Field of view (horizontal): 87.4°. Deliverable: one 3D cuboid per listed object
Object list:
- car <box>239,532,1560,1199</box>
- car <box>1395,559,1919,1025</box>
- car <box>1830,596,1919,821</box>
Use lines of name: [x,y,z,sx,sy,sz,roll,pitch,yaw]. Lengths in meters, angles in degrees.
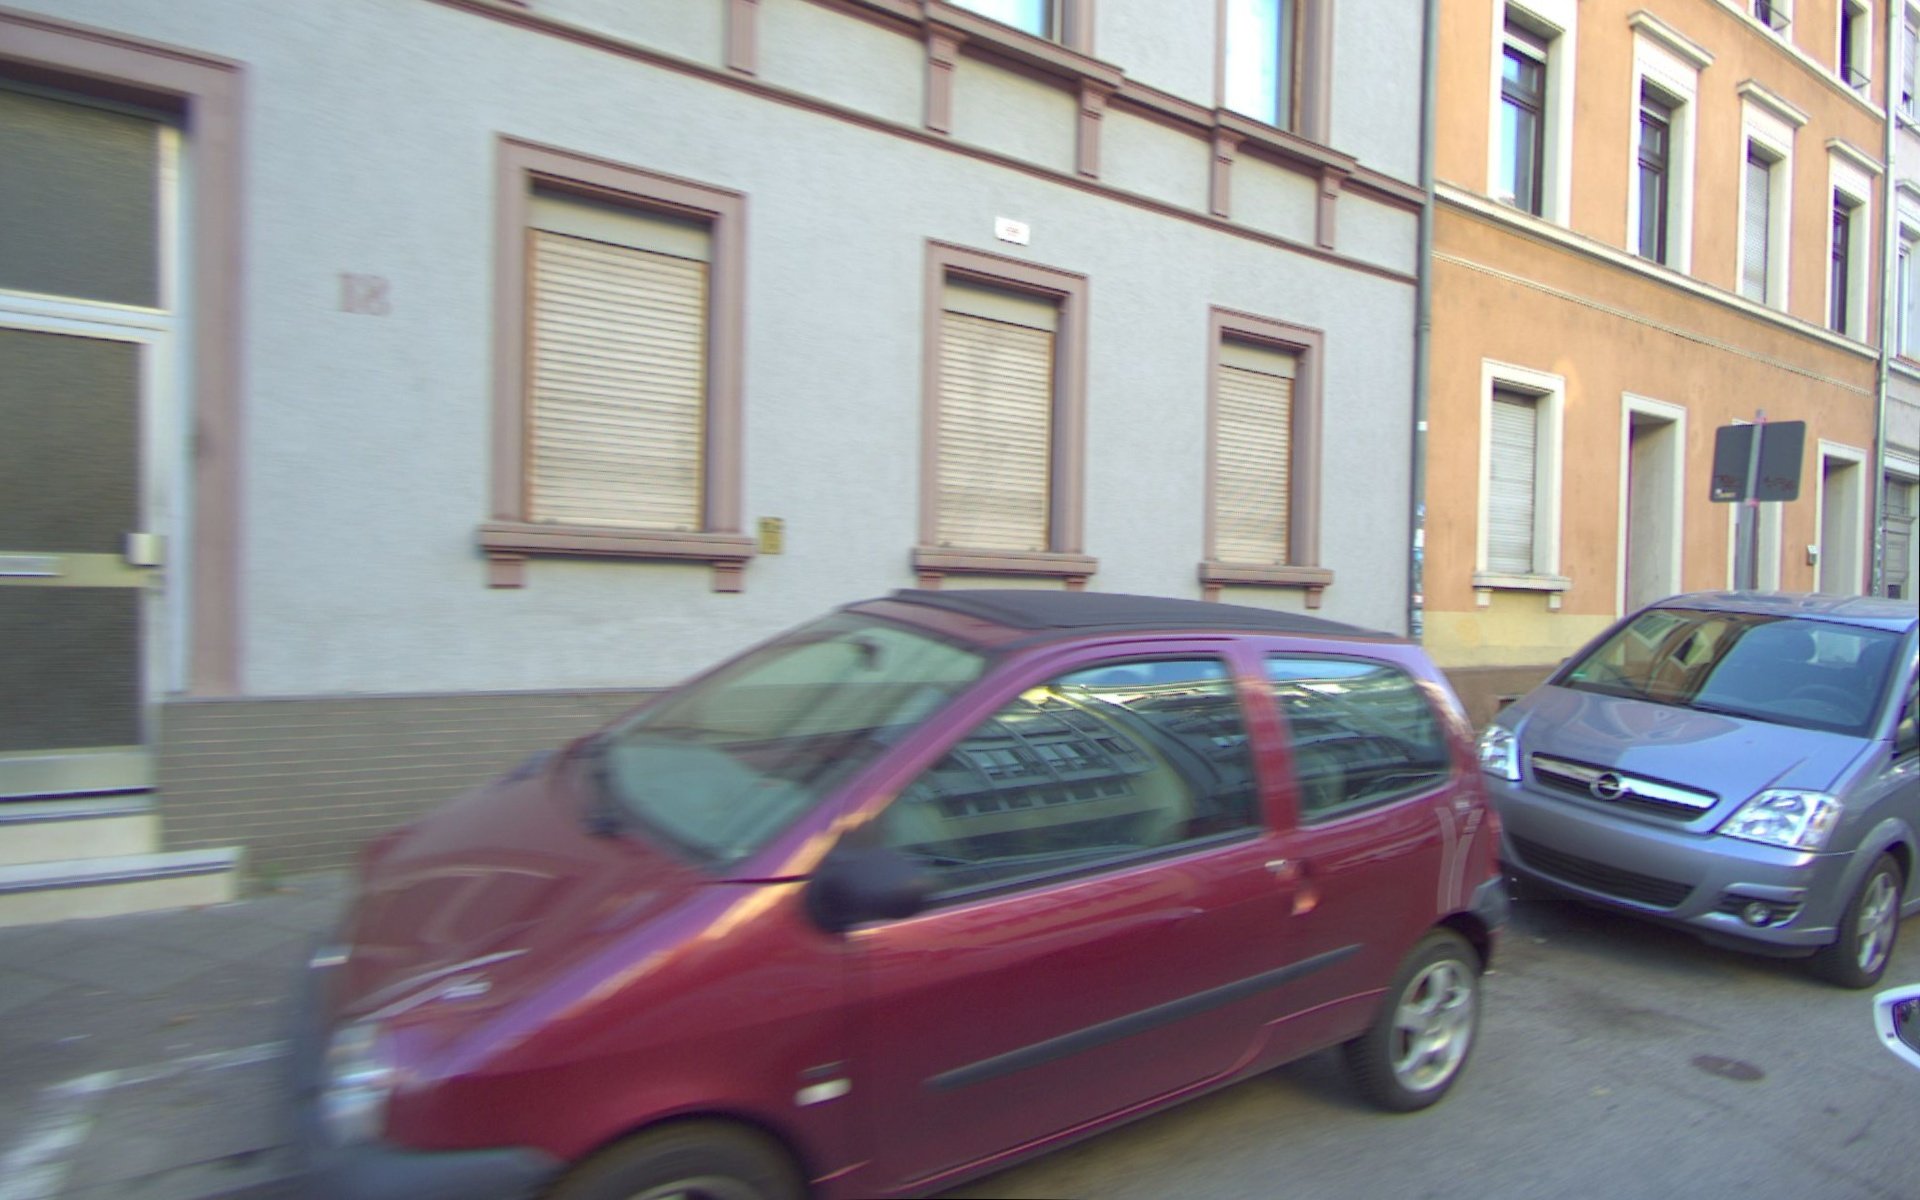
car: [-0.018,0.649,2.926,3.249,1.467,1.648,2,4,-32]
car: [4.370,0.719,5.432,3.935,1.666,1.701,1,3,-32]
car: [8.997,0.879,8.376,3.611,1.708,1.582,1,1,-32]
